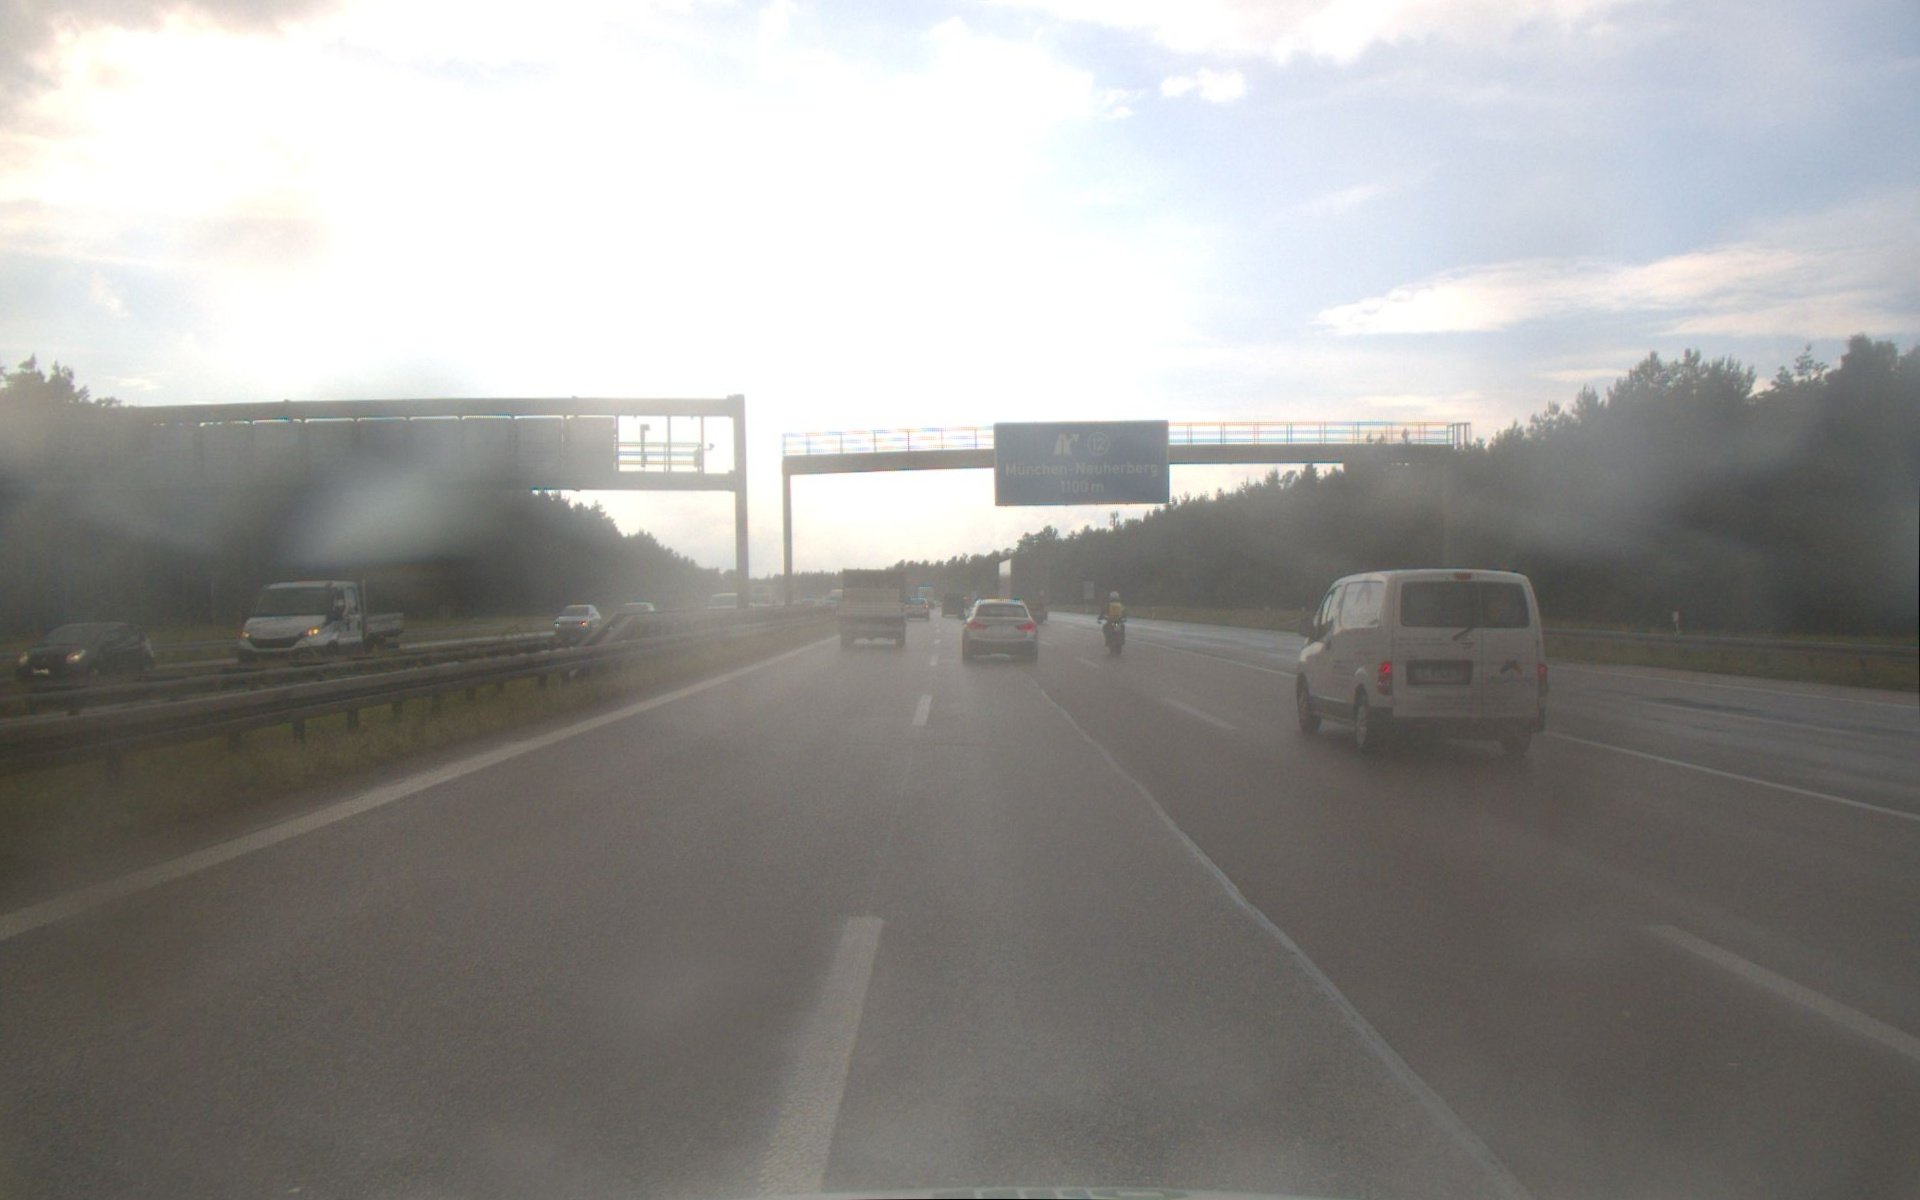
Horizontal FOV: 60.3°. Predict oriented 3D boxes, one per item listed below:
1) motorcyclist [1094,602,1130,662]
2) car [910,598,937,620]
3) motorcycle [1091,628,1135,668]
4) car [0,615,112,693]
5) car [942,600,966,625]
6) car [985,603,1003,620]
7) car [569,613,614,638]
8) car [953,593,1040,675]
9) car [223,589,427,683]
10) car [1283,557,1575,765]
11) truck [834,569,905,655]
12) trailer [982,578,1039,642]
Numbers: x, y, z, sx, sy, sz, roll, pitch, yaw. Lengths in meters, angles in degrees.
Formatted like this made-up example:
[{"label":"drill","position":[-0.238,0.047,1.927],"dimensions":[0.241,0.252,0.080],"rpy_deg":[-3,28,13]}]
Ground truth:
[{"label":"motorcyclist","position":[4.209,0.892,45.846],"dimensions":[0.873,1.643,0.958],"rpy_deg":[0,-1,-2]},{"label":"car","position":[-2.514,0.623,114.873],"dimensions":[1.794,1.492,3.999],"rpy_deg":[1,0,-1]},{"label":"motorcycle","position":[4.213,1.306,45.827],"dimensions":[0.979,1.049,2.173],"rpy_deg":[0,0,-1]},{"label":"car","position":[-19.525,1.079,34.238],"dimensions":[1.638,1.485,4.560],"rpy_deg":[-1,0,-1]},{"label":"car","position":[-0.513,1.019,137.445],"dimensions":[1.870,2.049,3.998],"rpy_deg":[1,0,-2]},{"label":"car","position":[4.201,1.396,206.462],"dimensions":[1.953,2.049,3.998],"rpy_deg":[2,-1,-2]},{"label":"car","position":[-19.403,1.311,87.254],"dimensions":[1.592,1.280,3.840],"rpy_deg":[0,0,-2]},{"label":"car","position":[0.928,0.826,41.395],"dimensions":[2.035,1.918,5.012],"rpy_deg":[0,-1,2]},{"label":"car","position":[-15.427,0.819,40.718],"dimensions":[2.236,2.049,6.740],"rpy_deg":[1,0,1]},{"label":"car","position":[4.892,0.580,18.022],"dimensions":[1.923,1.935,4.882],"rpy_deg":[0,0,2]},{"label":"truck","position":[-2.819,0.370,51.859],"dimensions":[2.095,2.533,5.309],"rpy_deg":[0,0,-3]},{"label":"trailer","position":[3.307,0.664,112.116],"dimensions":[2.278,4.072,13.396],"rpy_deg":[0,-1,-5]}]
